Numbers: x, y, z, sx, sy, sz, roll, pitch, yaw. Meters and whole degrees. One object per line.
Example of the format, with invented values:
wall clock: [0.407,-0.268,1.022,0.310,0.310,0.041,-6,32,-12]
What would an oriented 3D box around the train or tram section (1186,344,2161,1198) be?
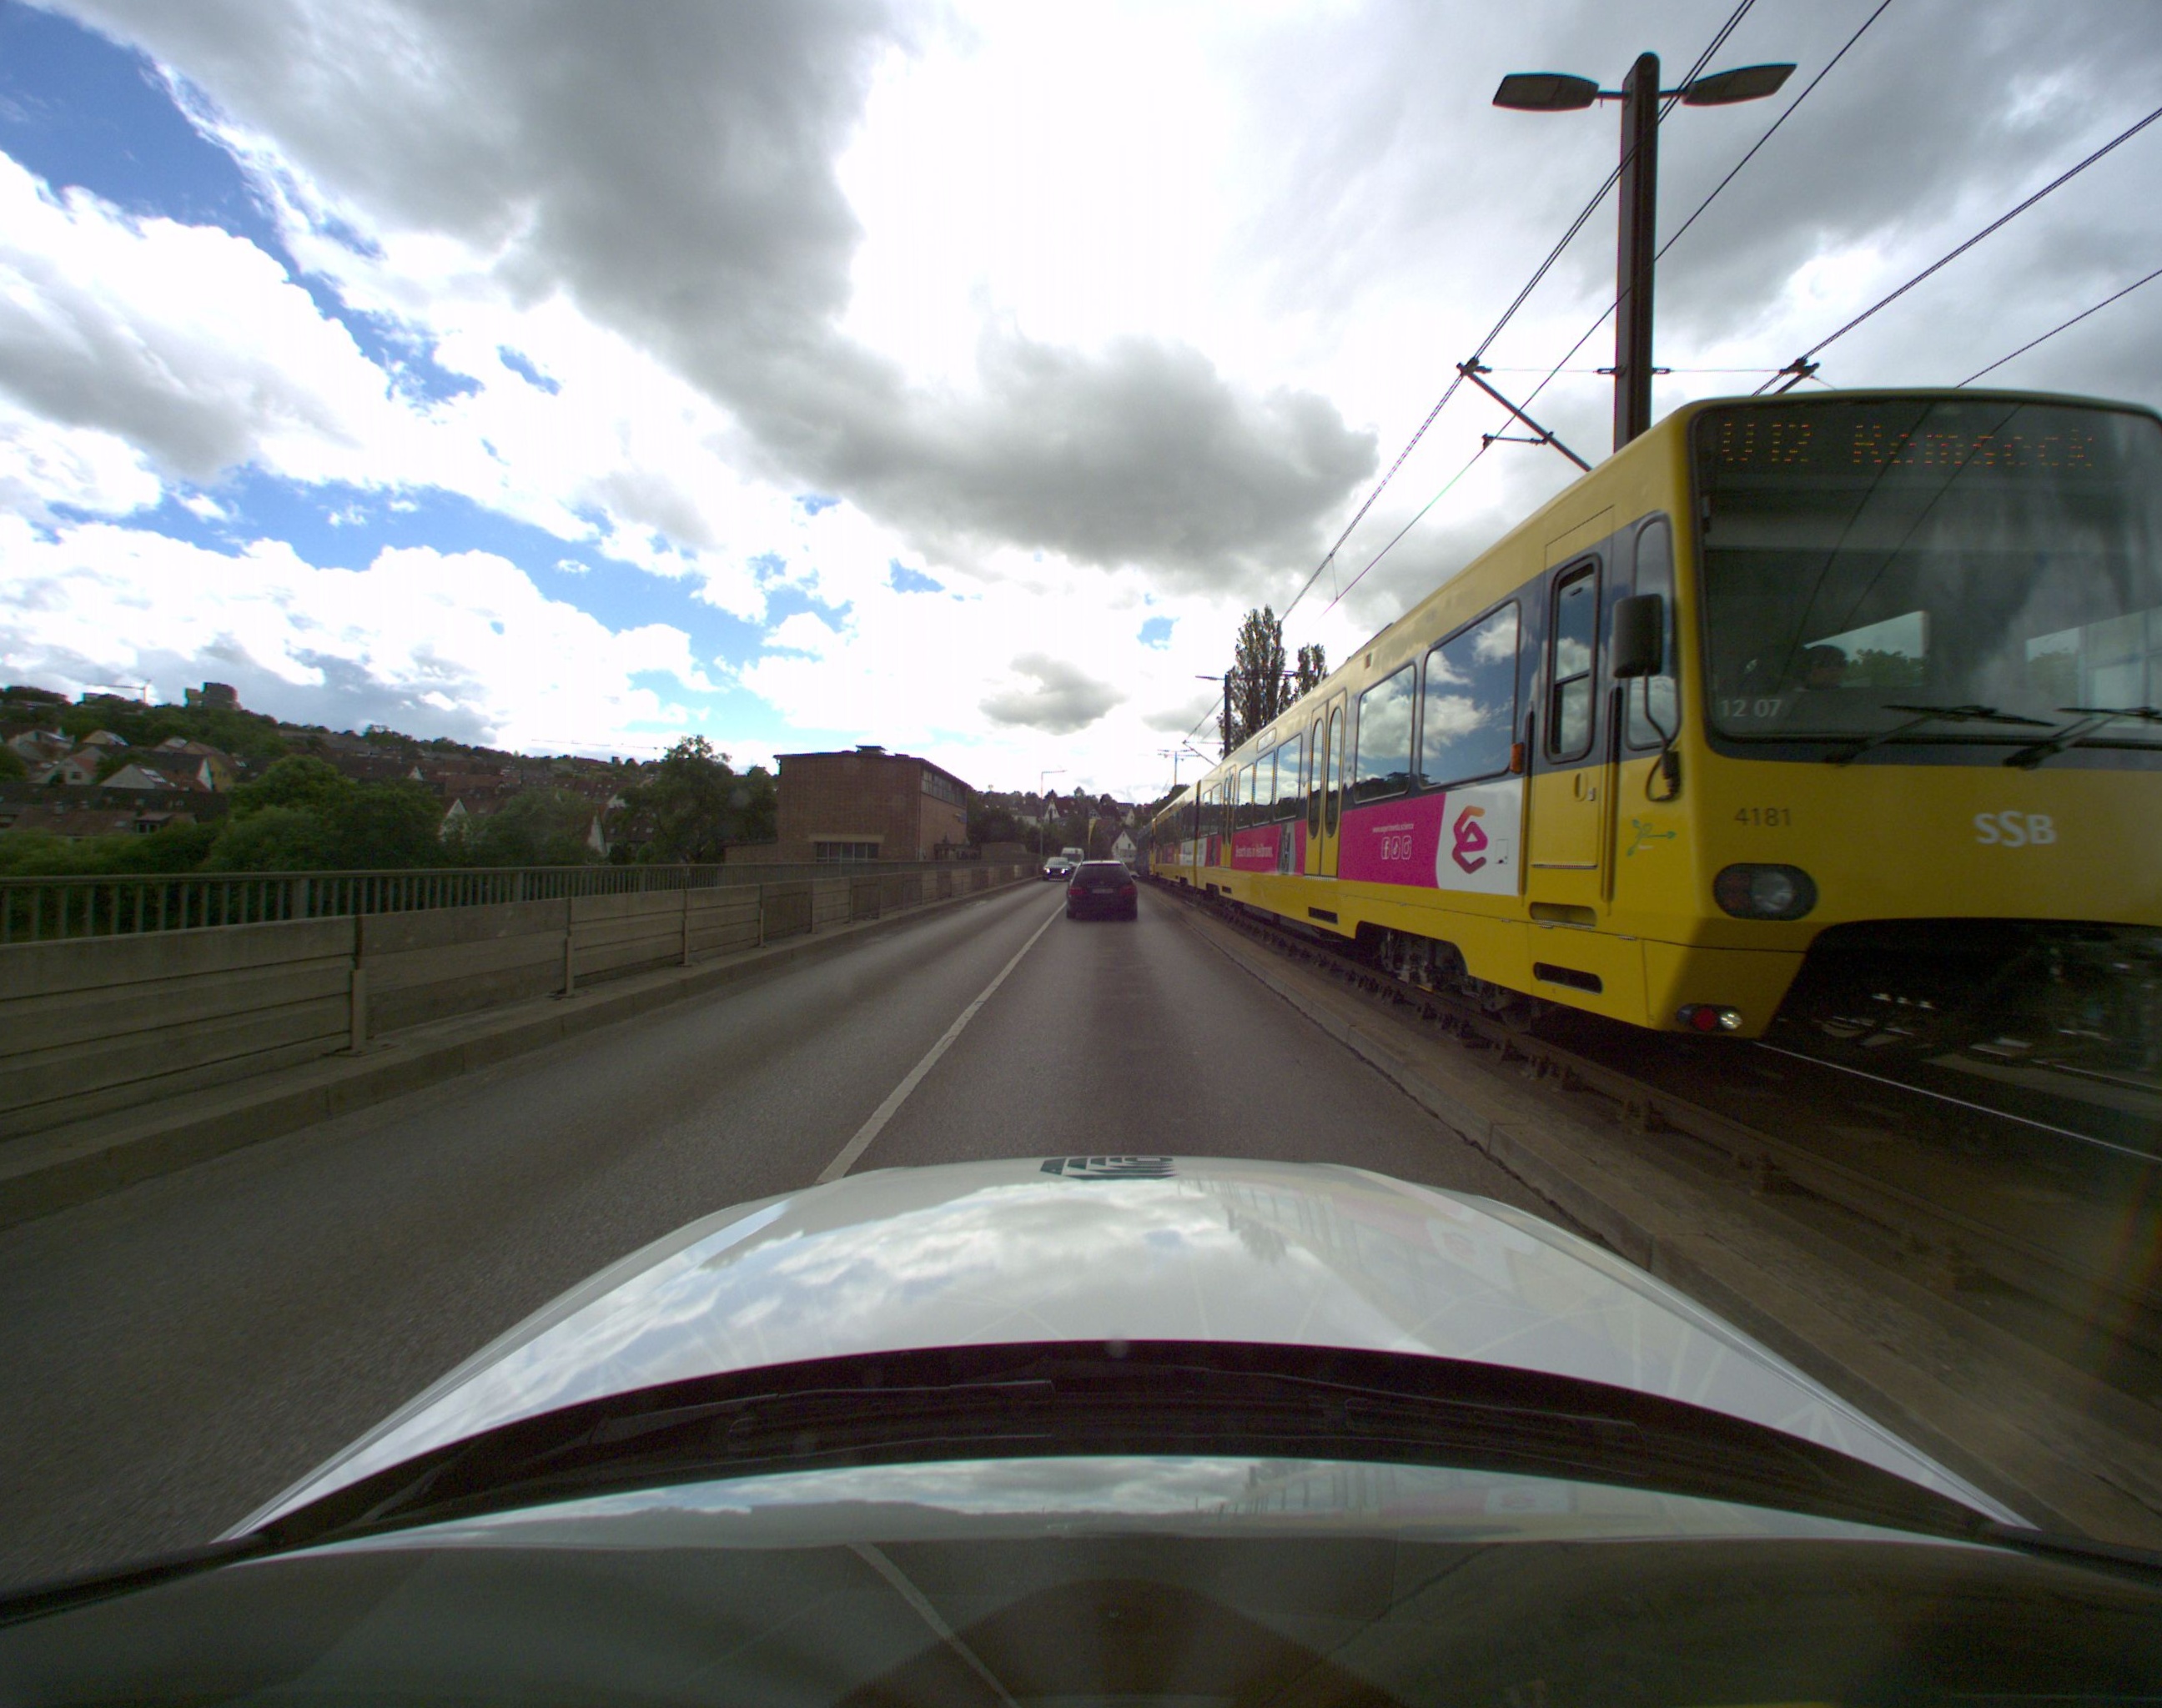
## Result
train or tram section: [4.108,-0.341,12.710,2.872,3.509,18.670,-1,0,1]

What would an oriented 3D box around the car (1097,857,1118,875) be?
car: [2.325,1.090,72.498,1.787,1.555,4.385,0,-1,1]

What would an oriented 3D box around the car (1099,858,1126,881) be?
car: [2.213,1.106,58.636,1.765,1.555,4.239,0,0,0]

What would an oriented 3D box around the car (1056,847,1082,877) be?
car: [-0.994,0.657,72.825,2.026,2.561,7.009,0,0,1]

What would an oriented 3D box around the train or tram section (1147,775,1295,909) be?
train or tram section: [4.554,-0.311,31.393,2.819,3.580,18.670,-1,0,1]

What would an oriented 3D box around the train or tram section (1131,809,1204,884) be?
train or tram section: [4.931,-0.271,50.683,2.774,3.656,19.895,-1,-1,1]

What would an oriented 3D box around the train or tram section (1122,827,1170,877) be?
train or tram section: [5.317,-0.037,70.623,2.784,3.764,19.891,0,-1,1]

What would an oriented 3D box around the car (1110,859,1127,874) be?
car: [4.067,1.378,88.008,1.763,1.555,4.244,1,-1,3]

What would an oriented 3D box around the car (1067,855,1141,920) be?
car: [0.586,0.806,21.740,1.753,1.515,4.442,0,0,1]

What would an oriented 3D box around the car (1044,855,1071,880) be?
car: [-1.599,0.922,57.101,1.709,1.645,4.001,-1,0,1]
